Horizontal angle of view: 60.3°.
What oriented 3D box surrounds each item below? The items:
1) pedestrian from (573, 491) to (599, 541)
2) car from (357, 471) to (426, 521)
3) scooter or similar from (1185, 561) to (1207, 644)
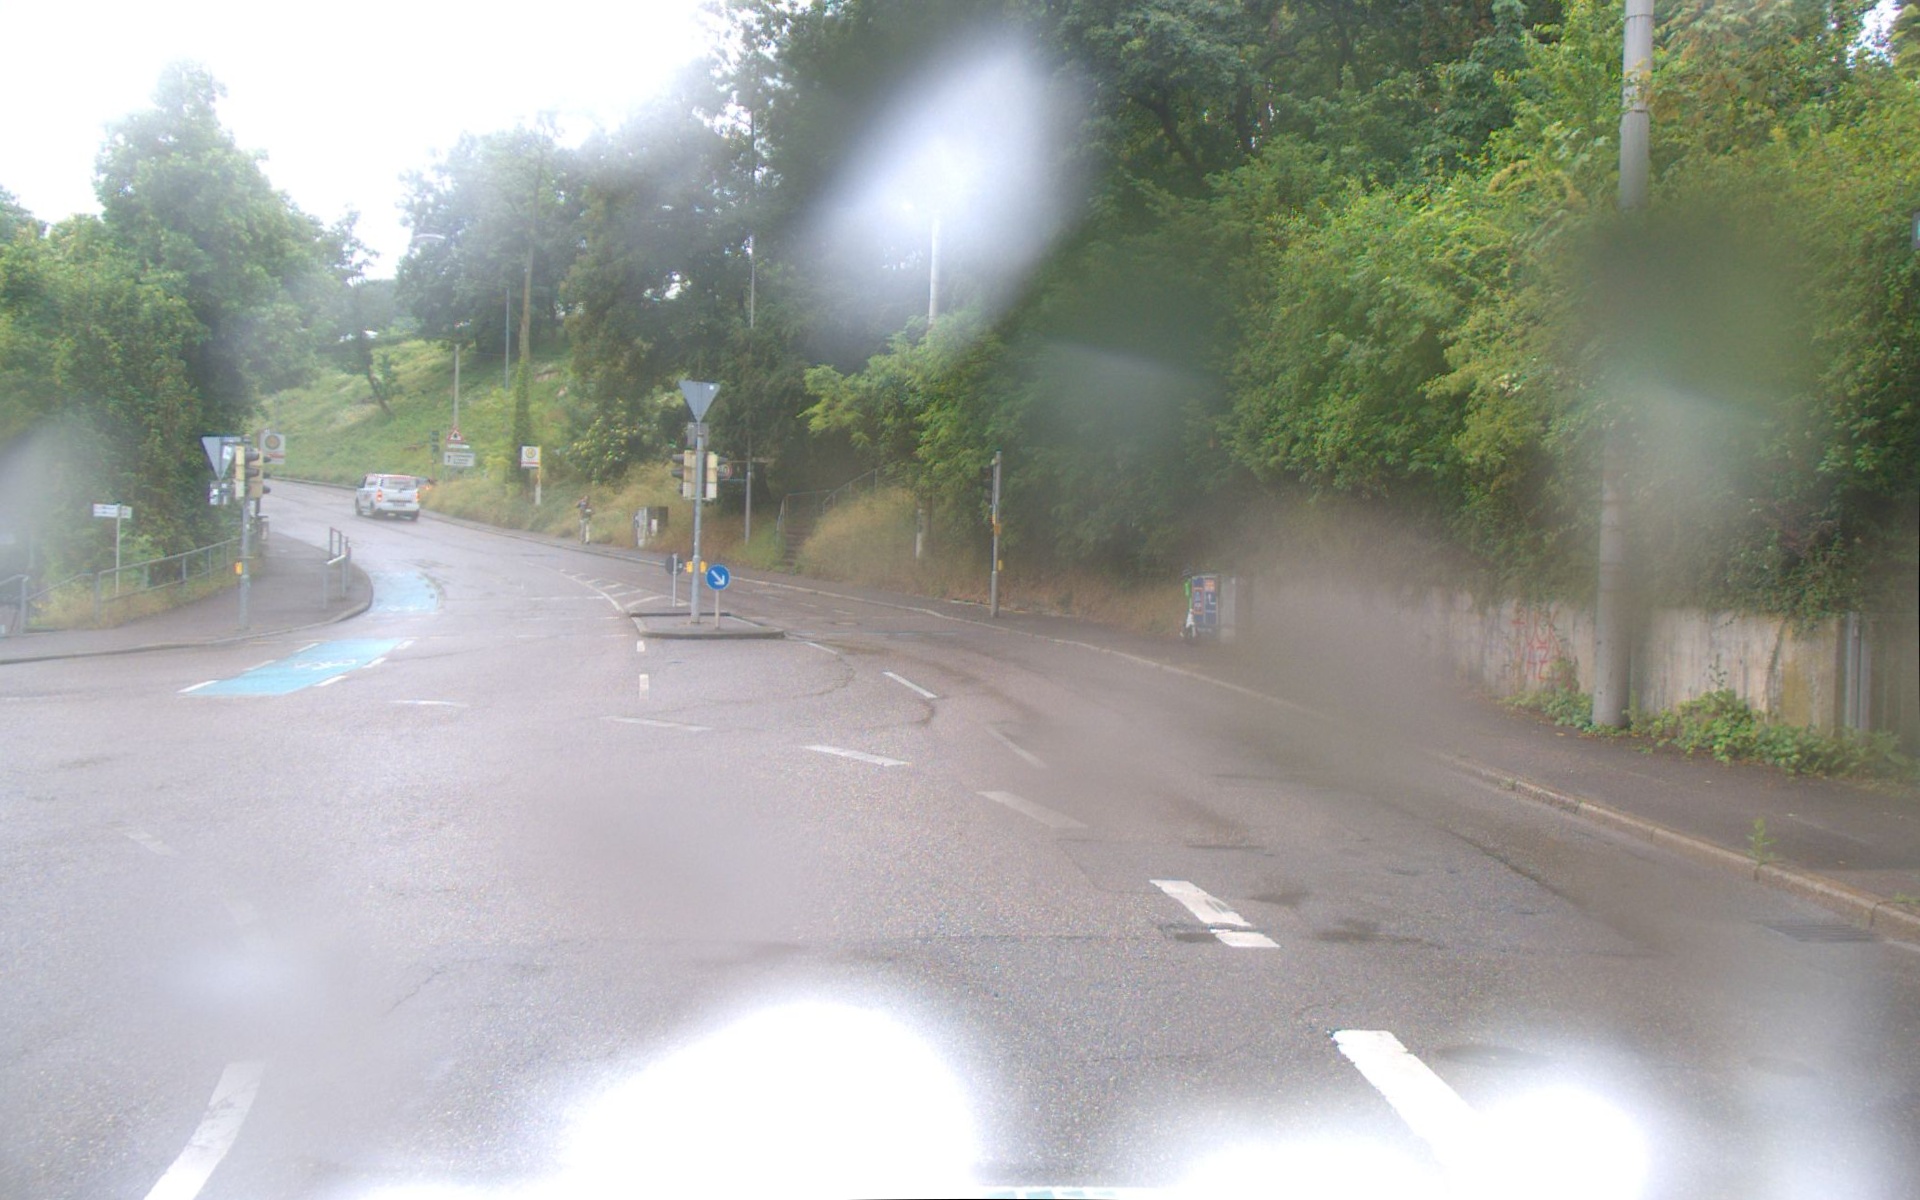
[{"bbox_3d":[-13.691,-3.065,60.518,0.867,1.767,0.861,1,-1,-18],"label":"pedestrian"},{"bbox_3d":[-25.815,-4.677,75.009,2.045,2.041,4.764,0,1,-31],"label":"car"},{"bbox_3d":[3.781,0.032,26.518,0.315,1.302,0.752,0,3,7],"label":"scooter or similar"}]
